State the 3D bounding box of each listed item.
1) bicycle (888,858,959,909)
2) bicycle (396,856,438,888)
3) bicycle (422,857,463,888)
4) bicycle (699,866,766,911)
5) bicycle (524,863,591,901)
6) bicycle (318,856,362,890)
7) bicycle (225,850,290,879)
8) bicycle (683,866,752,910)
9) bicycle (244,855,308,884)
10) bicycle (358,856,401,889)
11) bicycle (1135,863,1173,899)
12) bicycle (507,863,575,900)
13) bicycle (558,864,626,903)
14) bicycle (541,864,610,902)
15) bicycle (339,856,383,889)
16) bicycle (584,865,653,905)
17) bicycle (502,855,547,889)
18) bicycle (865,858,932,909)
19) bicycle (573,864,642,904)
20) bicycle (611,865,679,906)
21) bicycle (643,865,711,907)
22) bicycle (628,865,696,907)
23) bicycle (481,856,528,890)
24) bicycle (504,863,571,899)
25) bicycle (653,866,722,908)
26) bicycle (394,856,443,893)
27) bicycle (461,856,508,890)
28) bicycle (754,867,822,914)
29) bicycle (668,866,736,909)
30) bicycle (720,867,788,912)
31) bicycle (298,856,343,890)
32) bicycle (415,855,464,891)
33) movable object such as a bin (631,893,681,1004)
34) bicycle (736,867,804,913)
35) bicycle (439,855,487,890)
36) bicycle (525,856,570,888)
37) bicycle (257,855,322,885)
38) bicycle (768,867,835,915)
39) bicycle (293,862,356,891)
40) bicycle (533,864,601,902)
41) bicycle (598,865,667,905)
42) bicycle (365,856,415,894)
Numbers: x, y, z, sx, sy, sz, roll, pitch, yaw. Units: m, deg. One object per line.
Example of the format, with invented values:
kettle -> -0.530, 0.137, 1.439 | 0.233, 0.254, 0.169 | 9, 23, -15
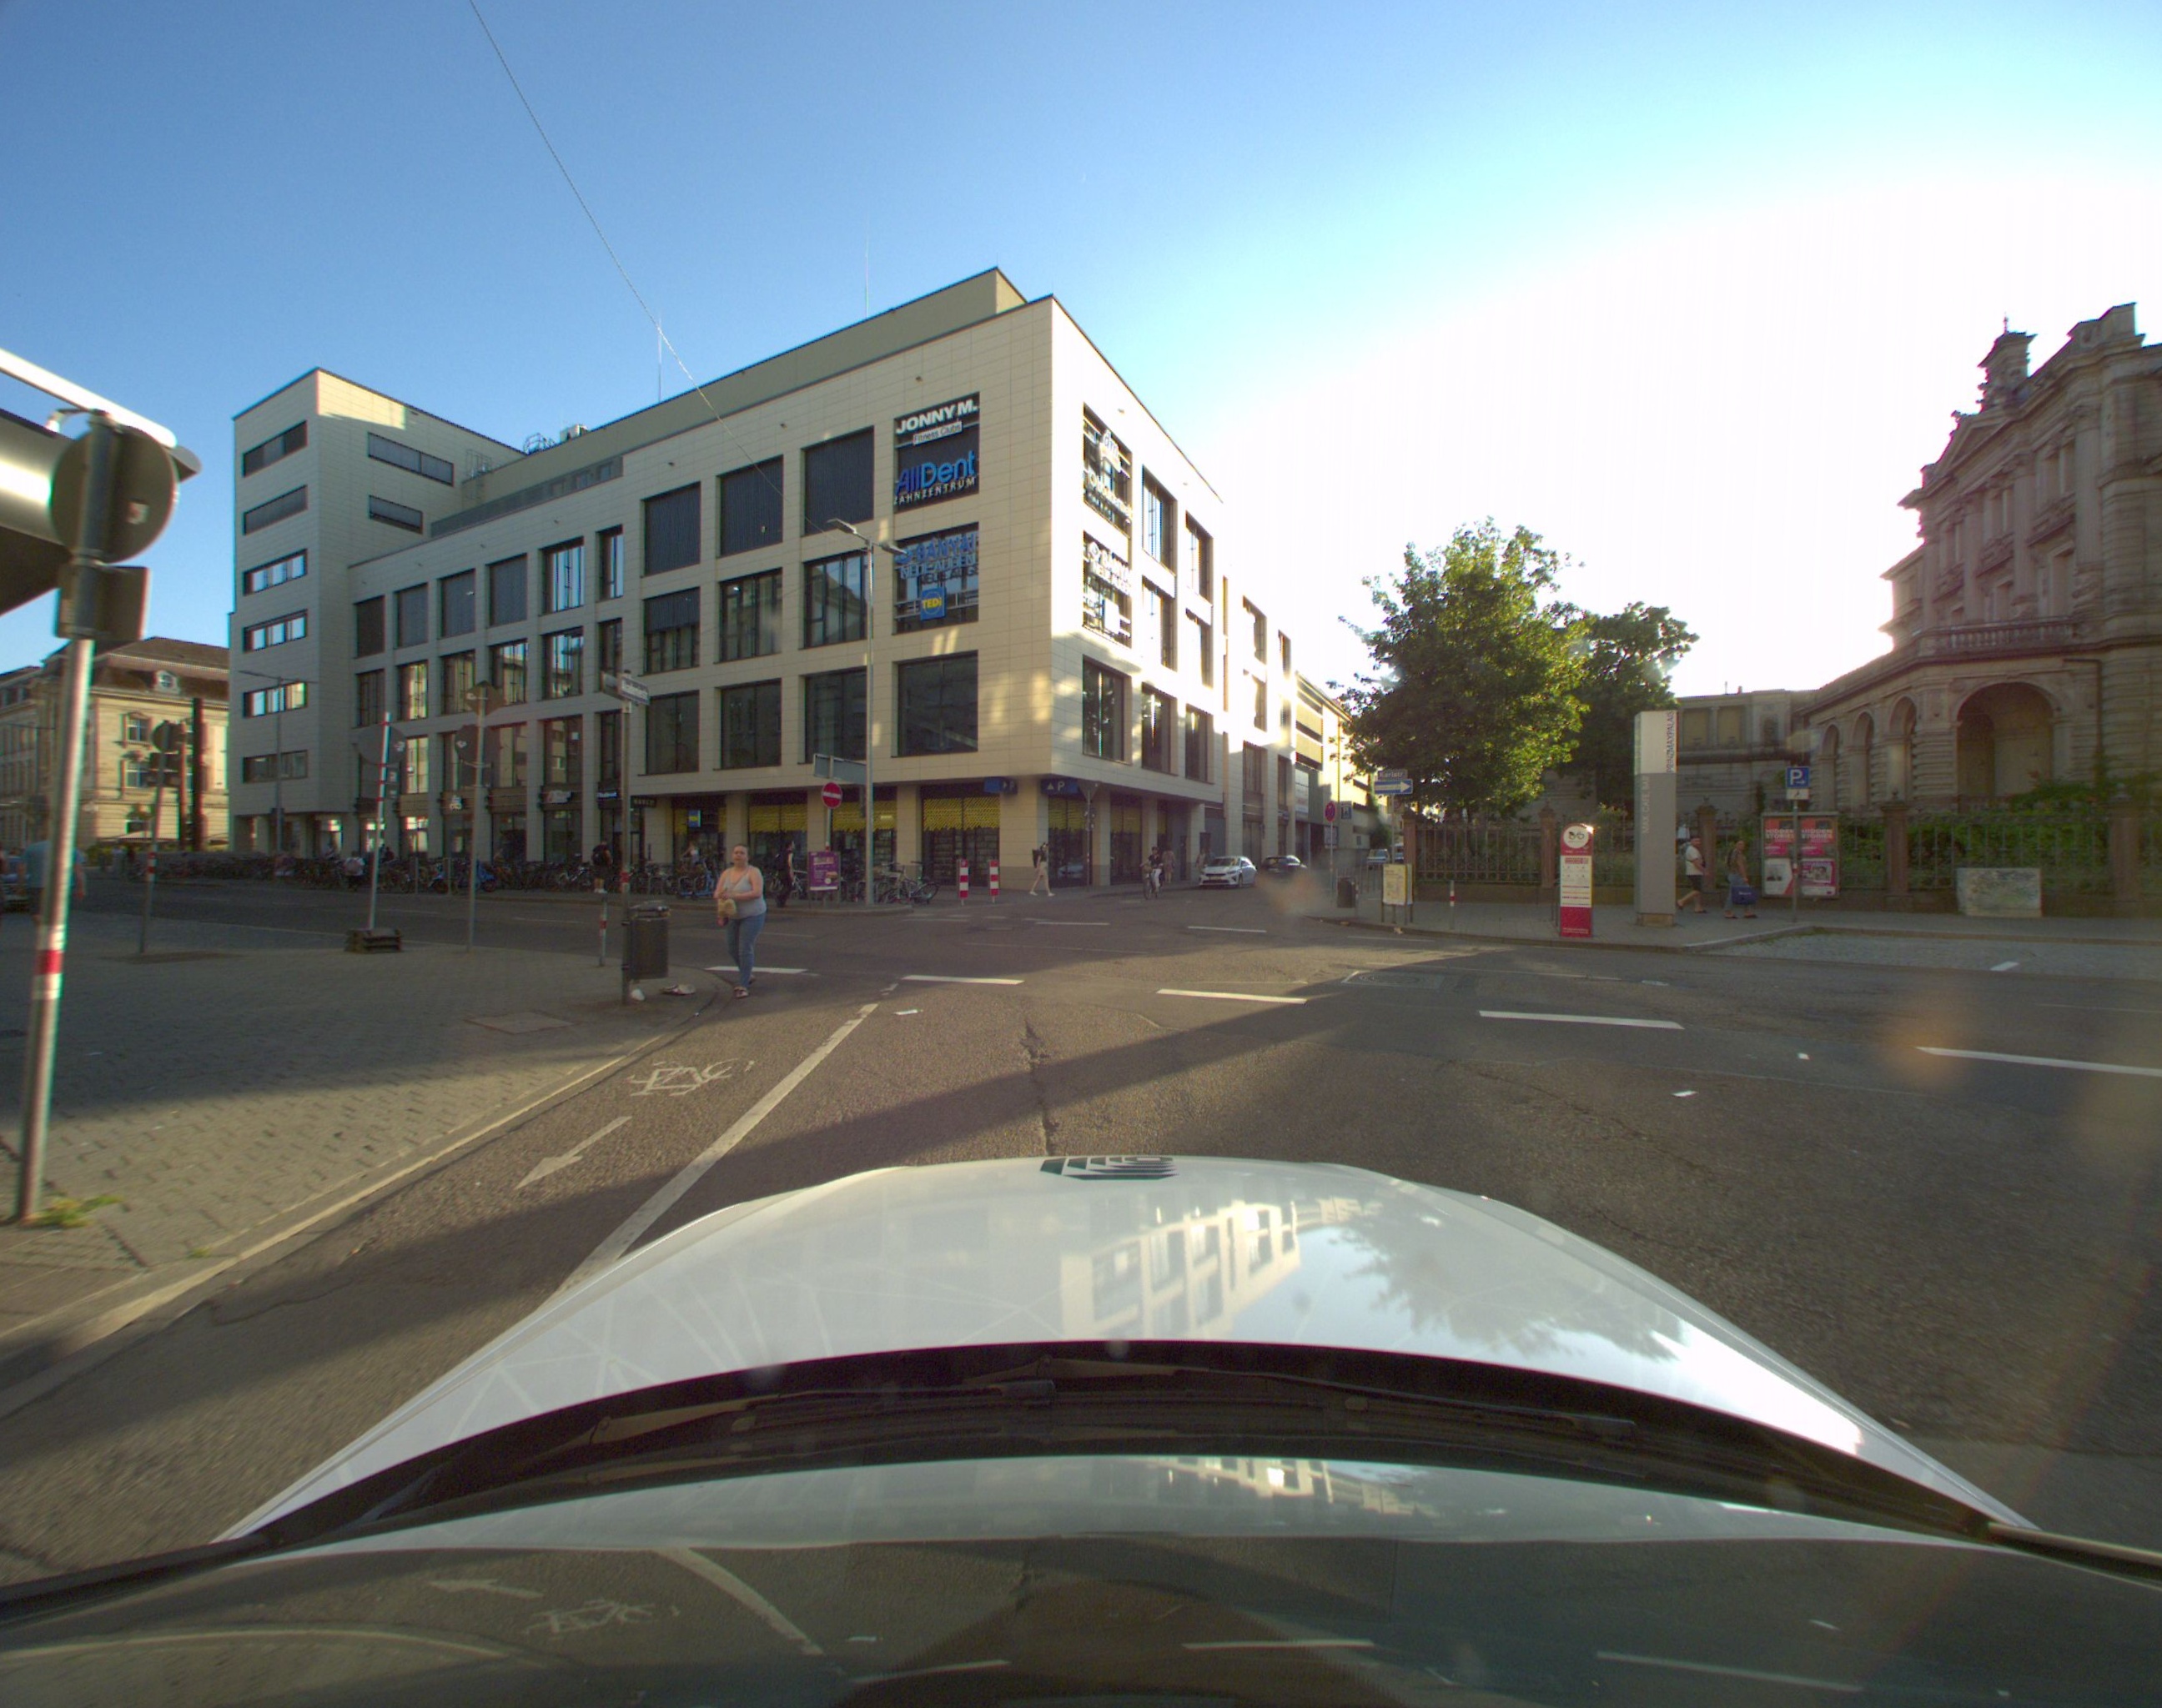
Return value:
bicycle -> -4.021, 0.735, 20.995 | 0.658, 1.255, 2.153 | 0, -1, 24
bicycle -> -27.123, 0.735, 33.247 | 1.954, 1.255, 0.516 | 0, -1, 25
bicycle -> -26.656, 0.749, 33.991 | 1.954, 1.255, 0.516 | 0, -1, 25
bicycle -> -10.303, 0.995, 24.141 | 0.507, 1.255, 1.990 | 0, -1, 25
bicycle -> -18.345, 0.965, 28.593 | 0.507, 1.255, 1.990 | 0, -1, 26
bicycle -> -28.255, 0.710, 31.051 | 1.954, 1.255, 0.516 | 0, -1, 25
bicycle -> -36.885, 0.453, 36.505 | 0.507, 1.255, 1.988 | 0, -1, 19
bicycle -> -10.866, 0.993, 24.411 | 0.507, 1.255, 1.990 | 0, -1, 26
bicycle -> -35.570, 0.693, 36.018 | 0.507, 1.255, 1.988 | 0, -1, 19
bicycle -> -27.730, 0.726, 32.176 | 1.954, 1.255, 0.516 | 0, -1, 25
bicycle -> 2.385, 0.857, 26.428 | 0.658, 1.138, 1.832 | 0, -1, 24
bicycle -> -19.048, 0.960, 28.779 | 0.507, 1.255, 1.990 | 0, -1, 26
bicycle -> -16.398, 0.971, 27.369 | 0.507, 1.255, 1.990 | 0, -1, 26
bicycle -> -17.099, 0.967, 27.618 | 0.507, 1.255, 1.990 | 0, -1, 26
bicycle -> -27.963, 0.711, 31.626 | 1.954, 1.255, 0.516 | 0, -1, 25
bicycle -> -15.020, 0.975, 26.518 | 0.507, 1.255, 1.990 | 0, -1, 26
bicycle -> -21.646, 0.688, 31.662 | 1.954, 1.255, 0.516 | 0, -1, 25
bicycle -> -4.730, 0.739, 21.273 | 0.575, 1.255, 2.055 | 0, -1, 24
bicycle -> -15.669, 0.974, 26.997 | 0.507, 1.255, 1.990 | 0, -1, 26
bicycle -> -13.903, 0.981, 26.029 | 0.507, 1.255, 1.990 | 0, -1, 26
bicycle -> -12.608, 0.987, 25.467 | 0.507, 1.255, 1.990 | 0, -1, 26
bicycle -> -13.221, 0.984, 25.750 | 0.507, 1.255, 1.990 | 0, -1, 26
bicycle -> -21.977, 0.717, 31.041 | 1.954, 1.255, 0.516 | 0, -1, 25
bicycle -> -19.554, 0.964, 29.356 | 0.507, 1.255, 1.990 | 0, -1, 26
bicycle -> -12.079, 0.988, 25.057 | 0.507, 1.255, 1.990 | 0, -1, 26
bicycle -> -23.203, 0.709, 28.512 | 1.954, 1.255, 0.516 | 0, -1, 25
bicycle -> -22.308, 0.699, 30.444 | 1.954, 1.255, 0.516 | 0, -1, 25
bicycle -> -8.279, 1.003, 23.071 | 0.507, 1.255, 1.990 | 0, -1, 26
bicycle -> -11.523, 0.991, 24.827 | 0.507, 1.255, 1.990 | 0, -1, 26
bicycle -> -9.536, 0.999, 23.827 | 0.507, 1.255, 1.990 | 0, -1, 26
bicycle -> -28.364, 0.704, 30.378 | 1.954, 1.255, 0.516 | 0, -1, 25
bicycle -> -22.943, 0.682, 29.123 | 1.954, 1.255, 0.516 | 0, -1, 25
movable object such as a bin -> -4.251, 0.931, 8.164 | 0.359, 1.063, 0.354 | 0, -1, -14
bicycle -> -8.898, 1.001, 23.414 | 0.507, 1.255, 1.990 | 0, -1, 26
bicycle -> -22.588, 0.668, 29.766 | 1.954, 1.255, 0.516 | 0, -1, 25
bicycle -> -21.139, 0.697, 32.252 | 1.954, 1.255, 0.516 | 0, -1, 25
bicycle -> -34.670, 0.684, 35.701 | 0.507, 1.255, 1.988 | 0, -1, 19
bicycle -> -7.788, 1.005, 22.789 | 0.507, 1.255, 1.990 | 0, -1, 26
bicycle -> -33.345, 0.974, 35.927 | 0.507, 1.255, 1.990 | 0, -1, 26
bicycle -> -17.716, 0.966, 28.100 | 0.507, 1.255, 1.990 | 0, -1, 26
bicycle -> -14.443, 0.978, 26.277 | 0.507, 1.255, 1.990 | 0, -1, 26
bicycle -> -23.544, 0.694, 27.750 | 1.954, 1.255, 0.516 | 0, -1, 25
